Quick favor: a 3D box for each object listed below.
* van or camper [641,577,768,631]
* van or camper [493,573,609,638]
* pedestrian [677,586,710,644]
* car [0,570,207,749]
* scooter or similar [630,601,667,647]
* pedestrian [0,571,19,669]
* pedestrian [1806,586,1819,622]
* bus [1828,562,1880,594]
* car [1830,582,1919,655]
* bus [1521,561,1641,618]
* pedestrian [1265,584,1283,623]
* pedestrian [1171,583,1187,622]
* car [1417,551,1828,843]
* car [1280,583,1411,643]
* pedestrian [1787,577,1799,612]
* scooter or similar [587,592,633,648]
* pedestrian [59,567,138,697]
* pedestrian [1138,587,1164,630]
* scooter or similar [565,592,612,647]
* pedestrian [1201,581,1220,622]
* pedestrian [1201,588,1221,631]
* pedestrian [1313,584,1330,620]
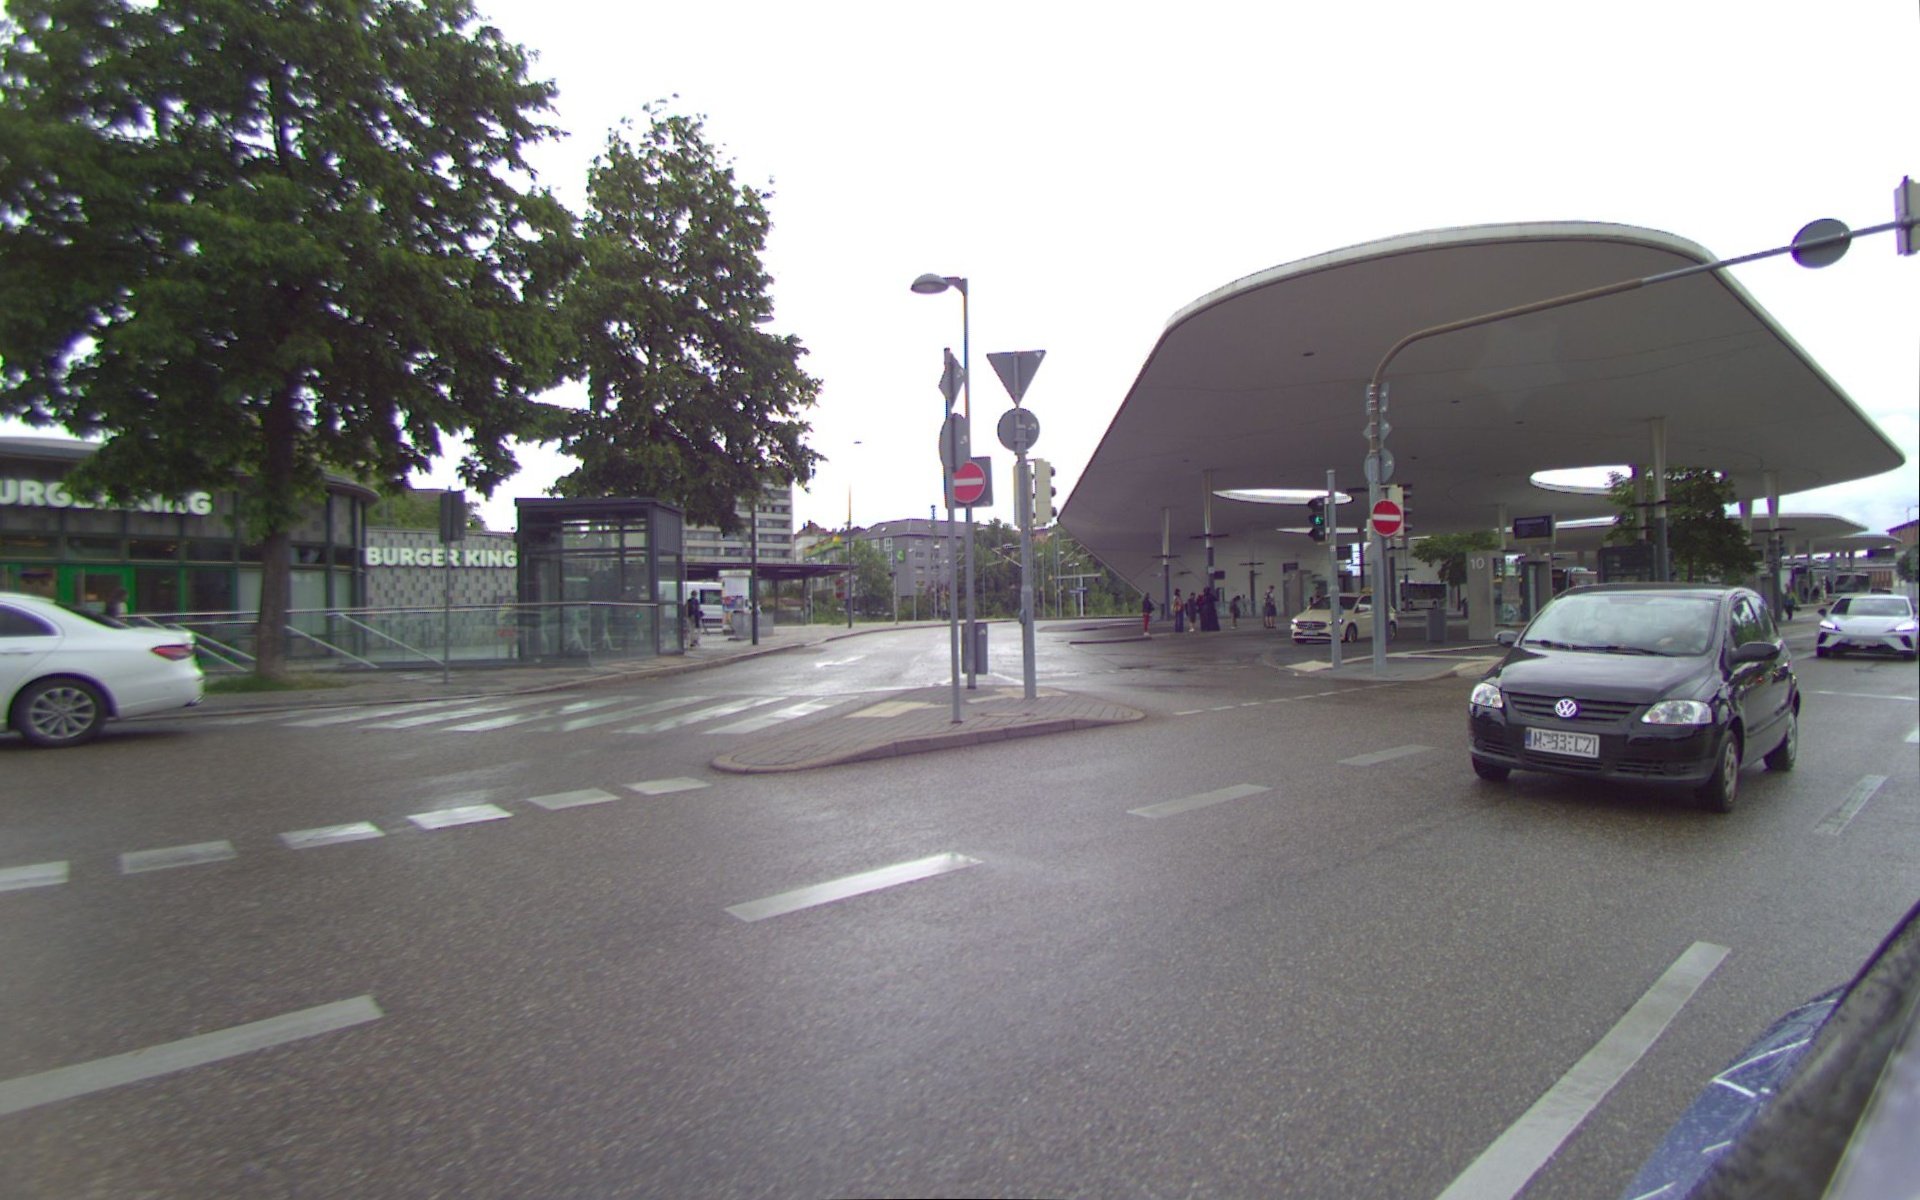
[{"bbox_3d":[-12.351,0.119,49.179,5.764,2.463,1.997,-1,2,-42],"label":"van or camper"},{"bbox_3d":[-16.861,0.145,41.526,5.842,2.463,2.133,2,2,42],"label":"van or camper"},{"bbox_3d":[-7.971,0.423,30.260,0.782,1.688,0.723,-1,1,-31],"label":"pedestrian"},{"bbox_3d":[-10.008,0.536,9.303,4.818,1.619,1.883,-1,2,-42],"label":"car"},{"bbox_3d":[-8.604,0.638,27.977,0.329,1.197,1.298,0,1,15],"label":"scooter or similar"},{"bbox_3d":[-16.108,0.333,16.595,0.761,1.599,0.706,0,1,19],"label":"pedestrian"},{"bbox_3d":[43.022,0.194,51.079,0.442,1.786,0.531,0,0,31],"label":"pedestrian"},{"bbox_3d":[91.971,-2.272,104.245,3.567,3.137,10.602,0,1,39],"label":"bus"},{"bbox_3d":[22.152,0.381,24.266,1.806,1.578,3.987,1,2,43],"label":"car"},{"bbox_3d":[37.321,-0.647,60.559,11.717,3.120,2.874,-1,2,-42],"label":"bus"},{"bbox_3d":[12.663,0.136,40.764,0.525,1.533,0.479,0,0,-38],"label":"pedestrian"},{"bbox_3d":[8.604,0.096,39.798,0.469,1.533,0.536,0,0,-7],"label":"pedestrian"},{"bbox_3d":[5.423,0.486,8.063,4.089,1.722,1.873,-2,3,-44],"label":"car"},{"bbox_3d":[12.101,0.331,31.654,4.464,1.702,1.997,-1,2,-42],"label":"car"},{"bbox_3d":[42.558,-0.291,51.720,0.443,1.786,0.529,0,0,42],"label":"pedestrian"},{"bbox_3d":[-7.967,0.439,23.098,0.329,1.197,1.298,0,1,15],"label":"scooter or similar"},{"bbox_3d":[-14.908,0.521,17.519,0.787,2.191,0.719,0,1,18],"label":"pedestrian"},{"bbox_3d":[7.192,0.308,38.114,0.726,1.615,0.643,0,1,-27],"label":"pedestrian"},{"bbox_3d":[-8.534,0.430,23.273,0.329,1.197,1.298,0,1,15],"label":"scooter or similar"},{"bbox_3d":[9.405,0.054,37.972,0.470,1.533,0.535,0,0,-37],"label":"pedestrian"},{"bbox_3d":[9.180,0.338,36.966,0.470,1.533,0.535,0,0,-37],"label":"pedestrian"},{"bbox_3d":[15.508,0.065,43.399,0.525,1.533,0.479,0,0,-38],"label":"pedestrian"}]
